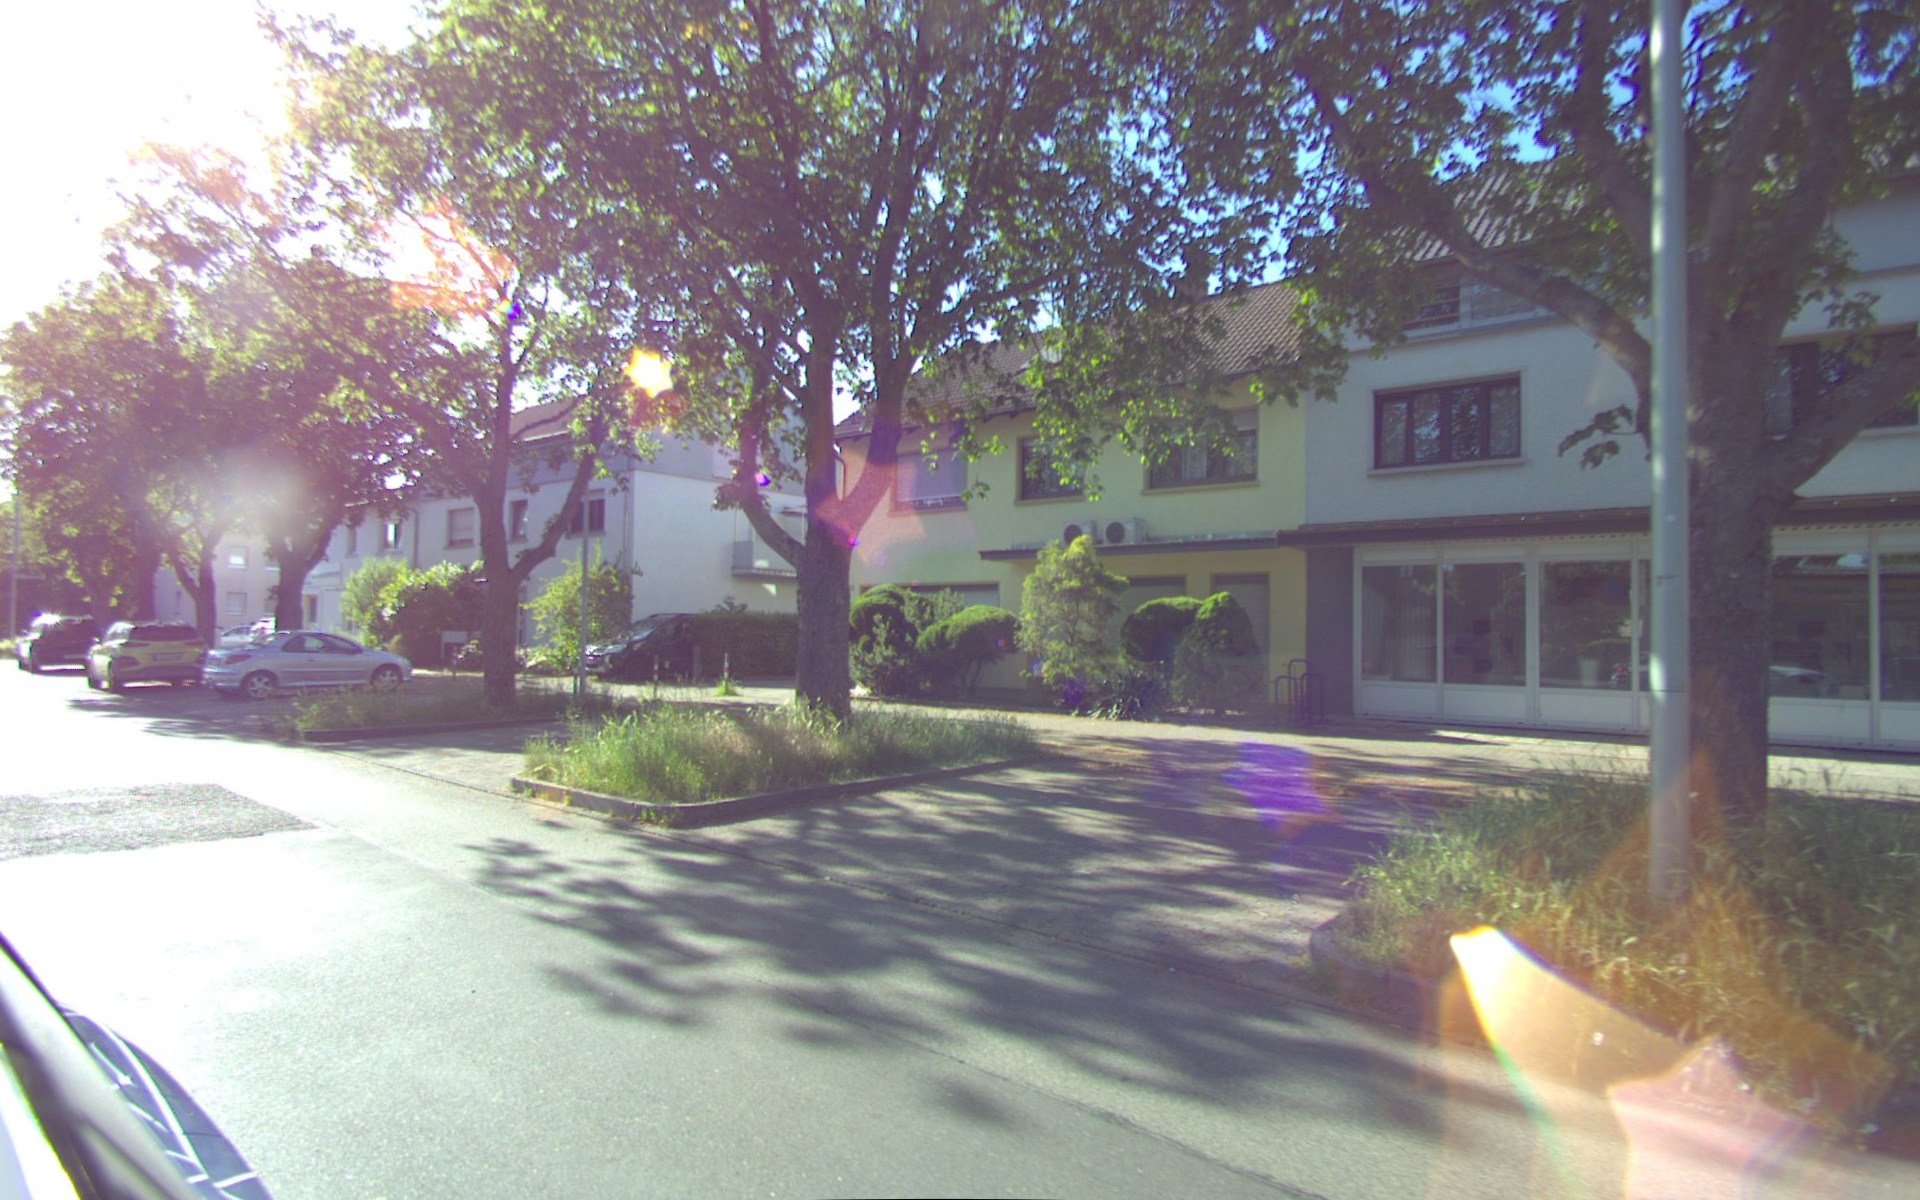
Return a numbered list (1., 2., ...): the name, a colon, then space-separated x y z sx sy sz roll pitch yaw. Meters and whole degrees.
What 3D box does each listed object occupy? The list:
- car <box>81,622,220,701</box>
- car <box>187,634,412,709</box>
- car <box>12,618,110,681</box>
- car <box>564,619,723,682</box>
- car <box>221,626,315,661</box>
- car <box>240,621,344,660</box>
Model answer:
1. car: -18.577 1.335 23.181 3.695 1.551 1.972 0 1 43
2. car: -13.797 1.429 21.310 1.621 1.333 3.652 0 0 35
3. car: -27.160 1.459 30.543 4.055 1.746 1.791 -1 -3 43
4. car: -8.517 1.385 27.454 1.692 1.577 3.722 0 -4 44
5. car: -38.618 2.419 56.510 1.998 1.696 3.947 0 1 40
6. car: -33.452 2.005 50.722 1.998 1.696 3.947 0 1 40
